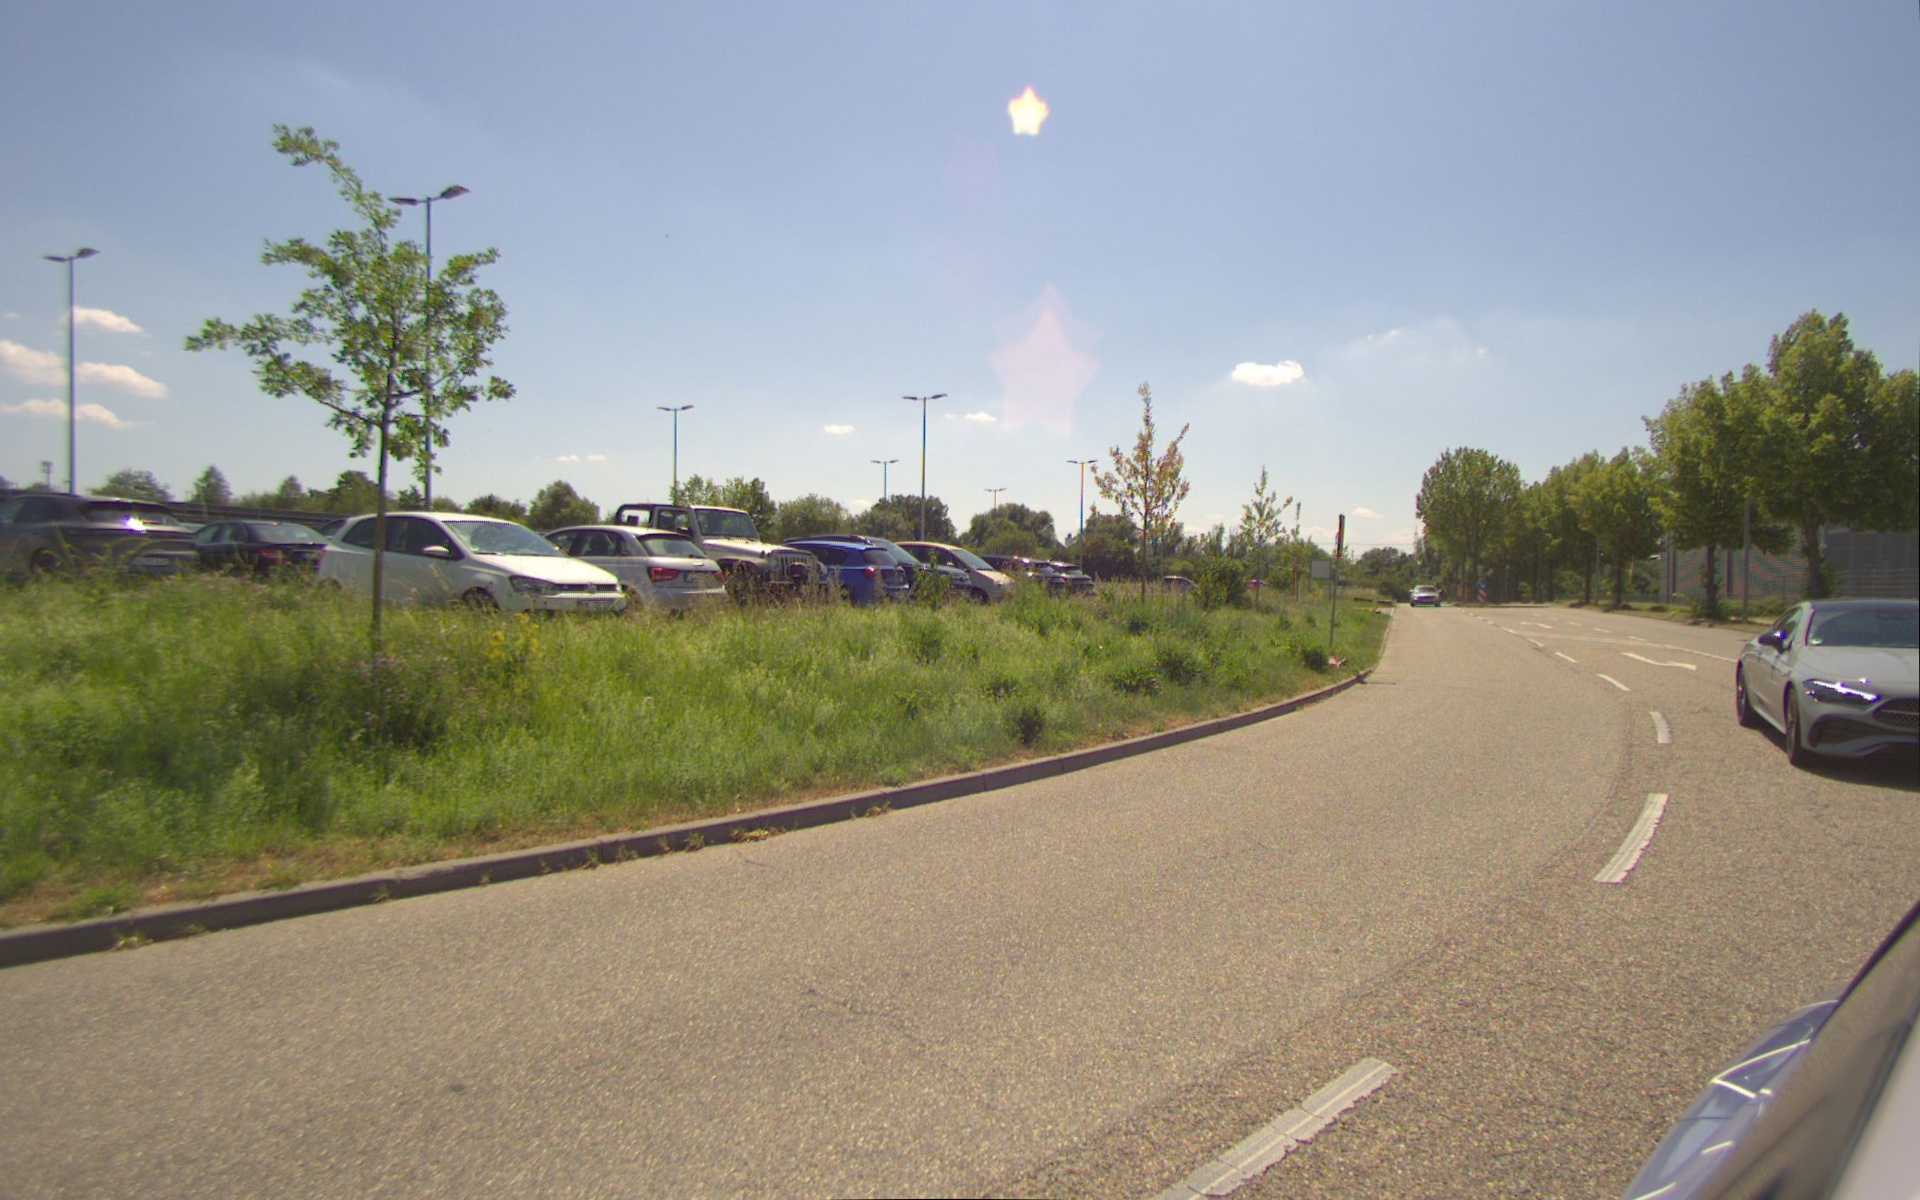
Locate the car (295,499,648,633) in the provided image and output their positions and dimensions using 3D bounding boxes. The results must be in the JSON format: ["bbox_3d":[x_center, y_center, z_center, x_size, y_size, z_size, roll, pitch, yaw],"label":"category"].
[{"bbox_3d":[-5.566,-0.417,11.492,3.838,1.313,1.562,1,3,26],"label":"car"}]

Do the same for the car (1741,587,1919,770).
[{"bbox_3d":[8.829,0.587,9.529,1.884,1.400,4.580,0,1,32],"label":"car"}]

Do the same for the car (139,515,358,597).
[{"bbox_3d":[-13.425,-0.855,19.092,3.806,1.379,1.640,3,3,23],"label":"car"}]

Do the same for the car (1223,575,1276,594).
[{"bbox_3d":[23.002,-1.238,80.497,3.950,1.368,1.636,-1,2,21],"label":"car"}]

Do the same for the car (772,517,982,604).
[{"bbox_3d":[-1.726,-0.783,21.075,3.992,1.448,1.676,-4,0,22],"label":"car"}]

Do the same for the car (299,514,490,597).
[{"bbox_3d":[-12.150,-0.971,21.763,3.599,1.617,1.756,3,2,23],"label":"car"}]

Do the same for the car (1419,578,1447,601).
[{"bbox_3d":[31.560,-0.737,67.586,1.656,1.392,4.460,-1,1,25],"label":"car"}]

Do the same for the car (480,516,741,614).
[{"bbox_3d":[-4.758,-0.503,13.789,3.235,1.196,1.490,1,3,24],"label":"car"}]

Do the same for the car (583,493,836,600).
[{"bbox_3d":[-4.056,-0.871,16.341,3.716,1.546,1.858,2,3,29],"label":"car"}]

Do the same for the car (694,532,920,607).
[{"bbox_3d":[-2.839,-0.602,18.786,3.900,1.272,1.575,1,3,22],"label":"car"}]

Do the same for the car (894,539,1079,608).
[{"bbox_3d":[0.674,-0.704,25.888,4.354,1.564,1.801,3,2,24],"label":"car"}]

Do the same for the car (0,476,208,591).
[{"bbox_3d":[-14.900,-1.017,16.877,4.552,1.711,1.763,0,0,23],"label":"car"}]

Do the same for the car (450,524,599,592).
[{"bbox_3d":[-11.058,-1.038,25.704,3.378,1.593,1.512,-1,1,21],"label":"car"}]

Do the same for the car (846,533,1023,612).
[{"bbox_3d":[-0.599,-0.671,23.610,3.805,1.644,1.606,3,2,22],"label":"car"}]

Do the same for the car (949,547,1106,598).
[{"bbox_3d":[1.889,-0.749,28.274,3.958,1.307,1.893,-1,2,26],"label":"car"}]
